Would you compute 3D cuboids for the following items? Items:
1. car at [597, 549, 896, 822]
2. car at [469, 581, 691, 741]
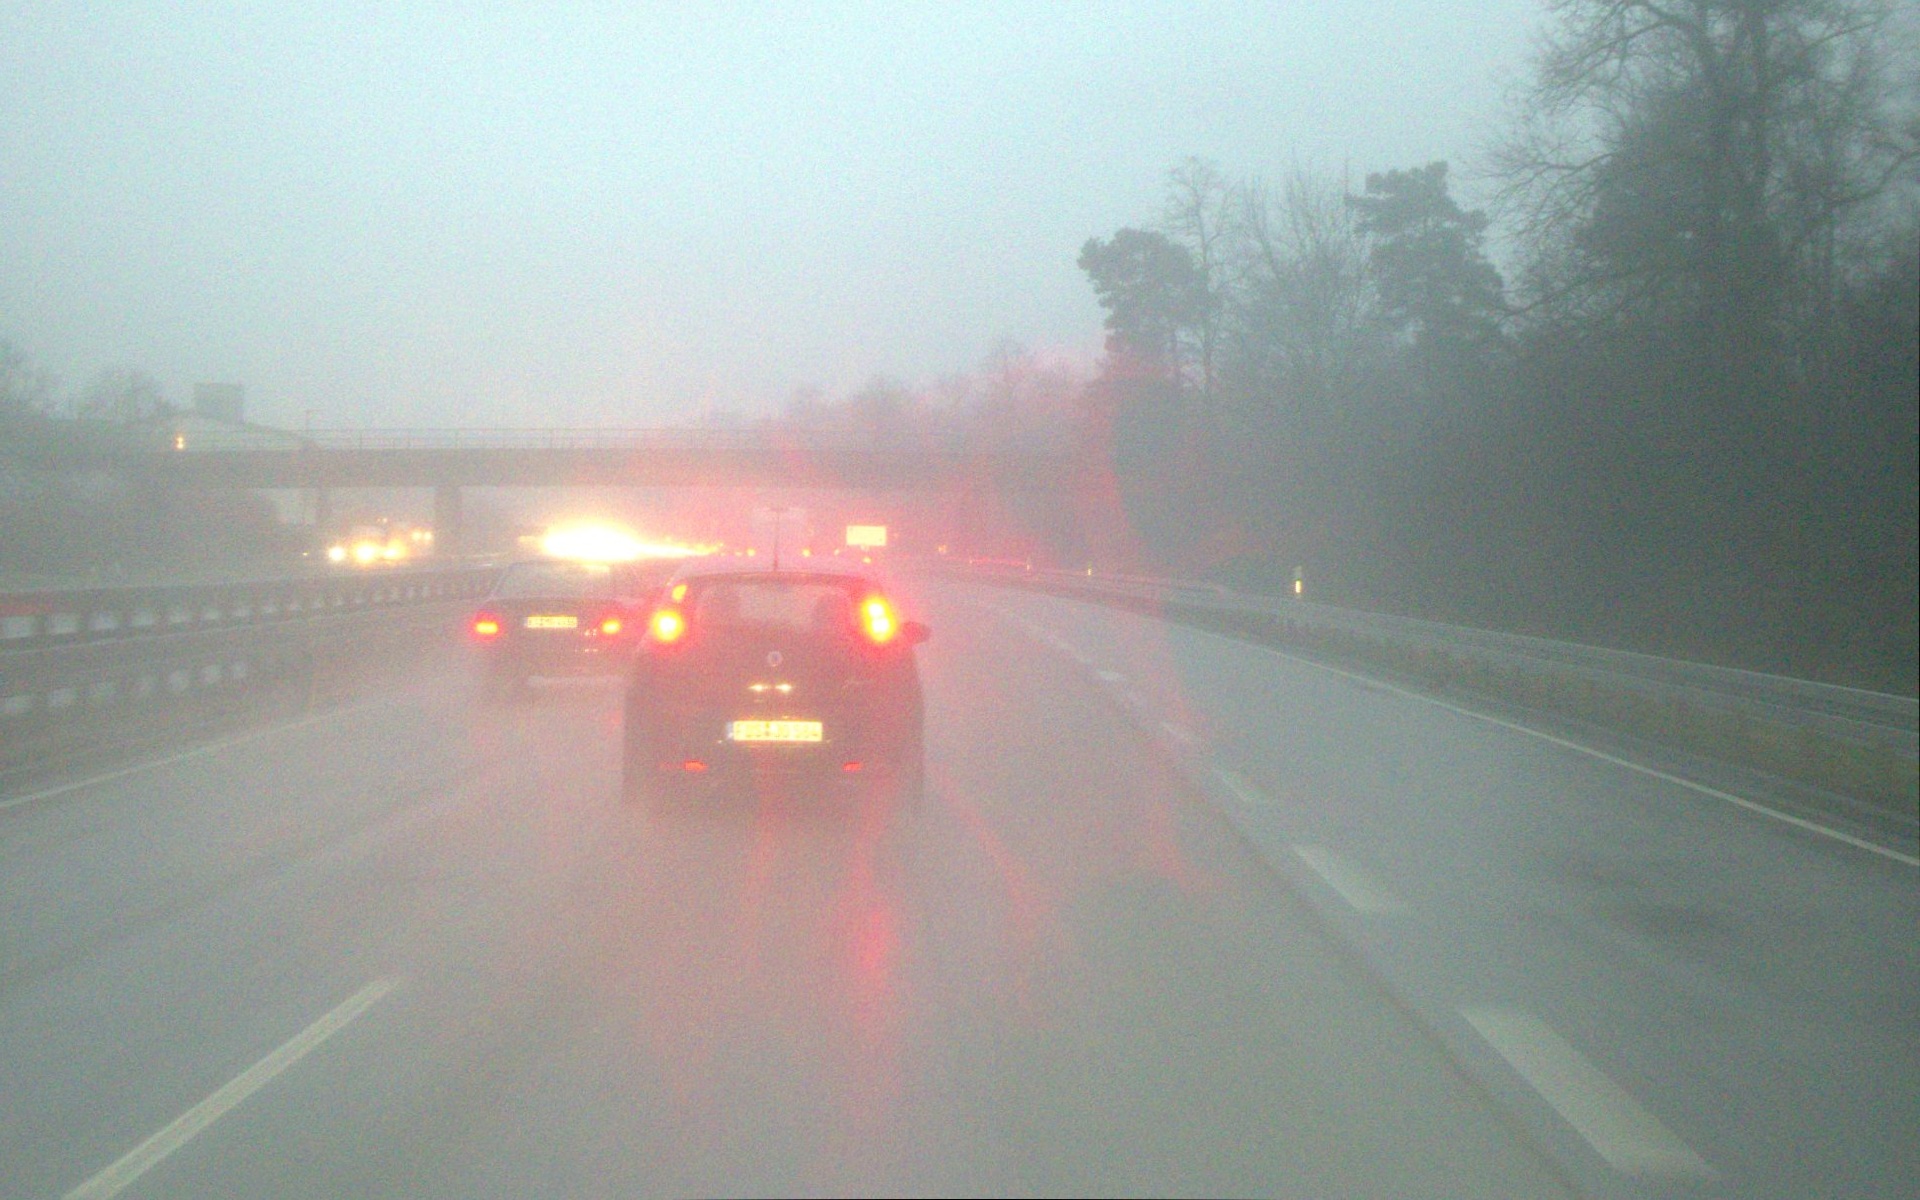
[{"bbox_3d":[-1.216,0.451,20.807,1.527,1.411,3.479,3,1,0],"label":"car"},{"bbox_3d":[-3.920,0.596,36.113,1.776,1.529,4.703,-1,0,0],"label":"car"}]
